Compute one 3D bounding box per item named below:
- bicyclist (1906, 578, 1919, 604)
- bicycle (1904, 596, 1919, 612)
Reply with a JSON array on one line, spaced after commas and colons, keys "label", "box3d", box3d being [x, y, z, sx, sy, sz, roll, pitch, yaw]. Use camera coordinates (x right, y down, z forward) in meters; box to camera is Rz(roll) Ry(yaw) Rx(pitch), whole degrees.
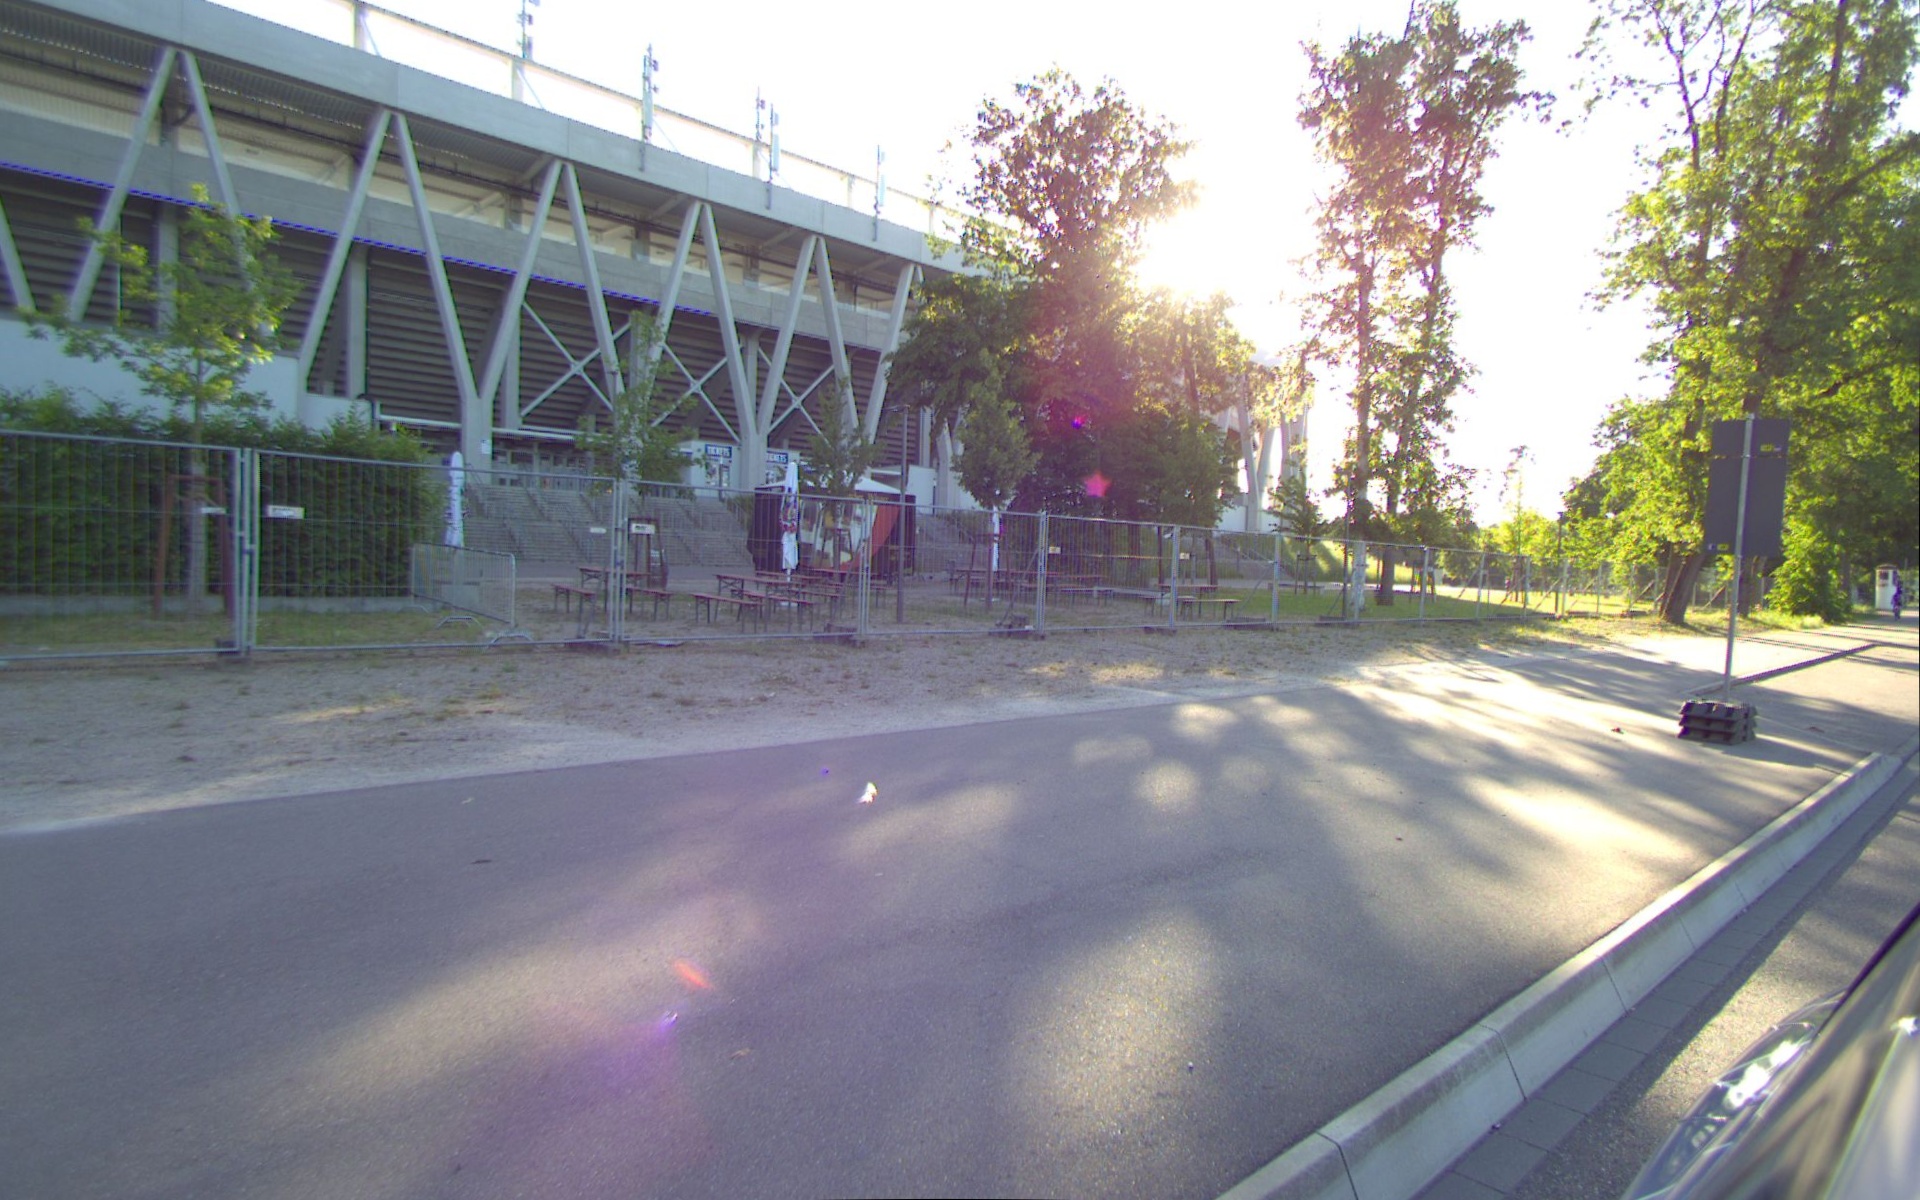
[{"label": "bicyclist", "box3d": [54.212, -0.532, 57.570, 0.565, 1.438, 0.451, 0, 2, -40]}, {"label": "bicycle", "box3d": [54.195, 0.227, 57.601, 1.876, 0.869, 0.481, 0, 2, -41]}]
